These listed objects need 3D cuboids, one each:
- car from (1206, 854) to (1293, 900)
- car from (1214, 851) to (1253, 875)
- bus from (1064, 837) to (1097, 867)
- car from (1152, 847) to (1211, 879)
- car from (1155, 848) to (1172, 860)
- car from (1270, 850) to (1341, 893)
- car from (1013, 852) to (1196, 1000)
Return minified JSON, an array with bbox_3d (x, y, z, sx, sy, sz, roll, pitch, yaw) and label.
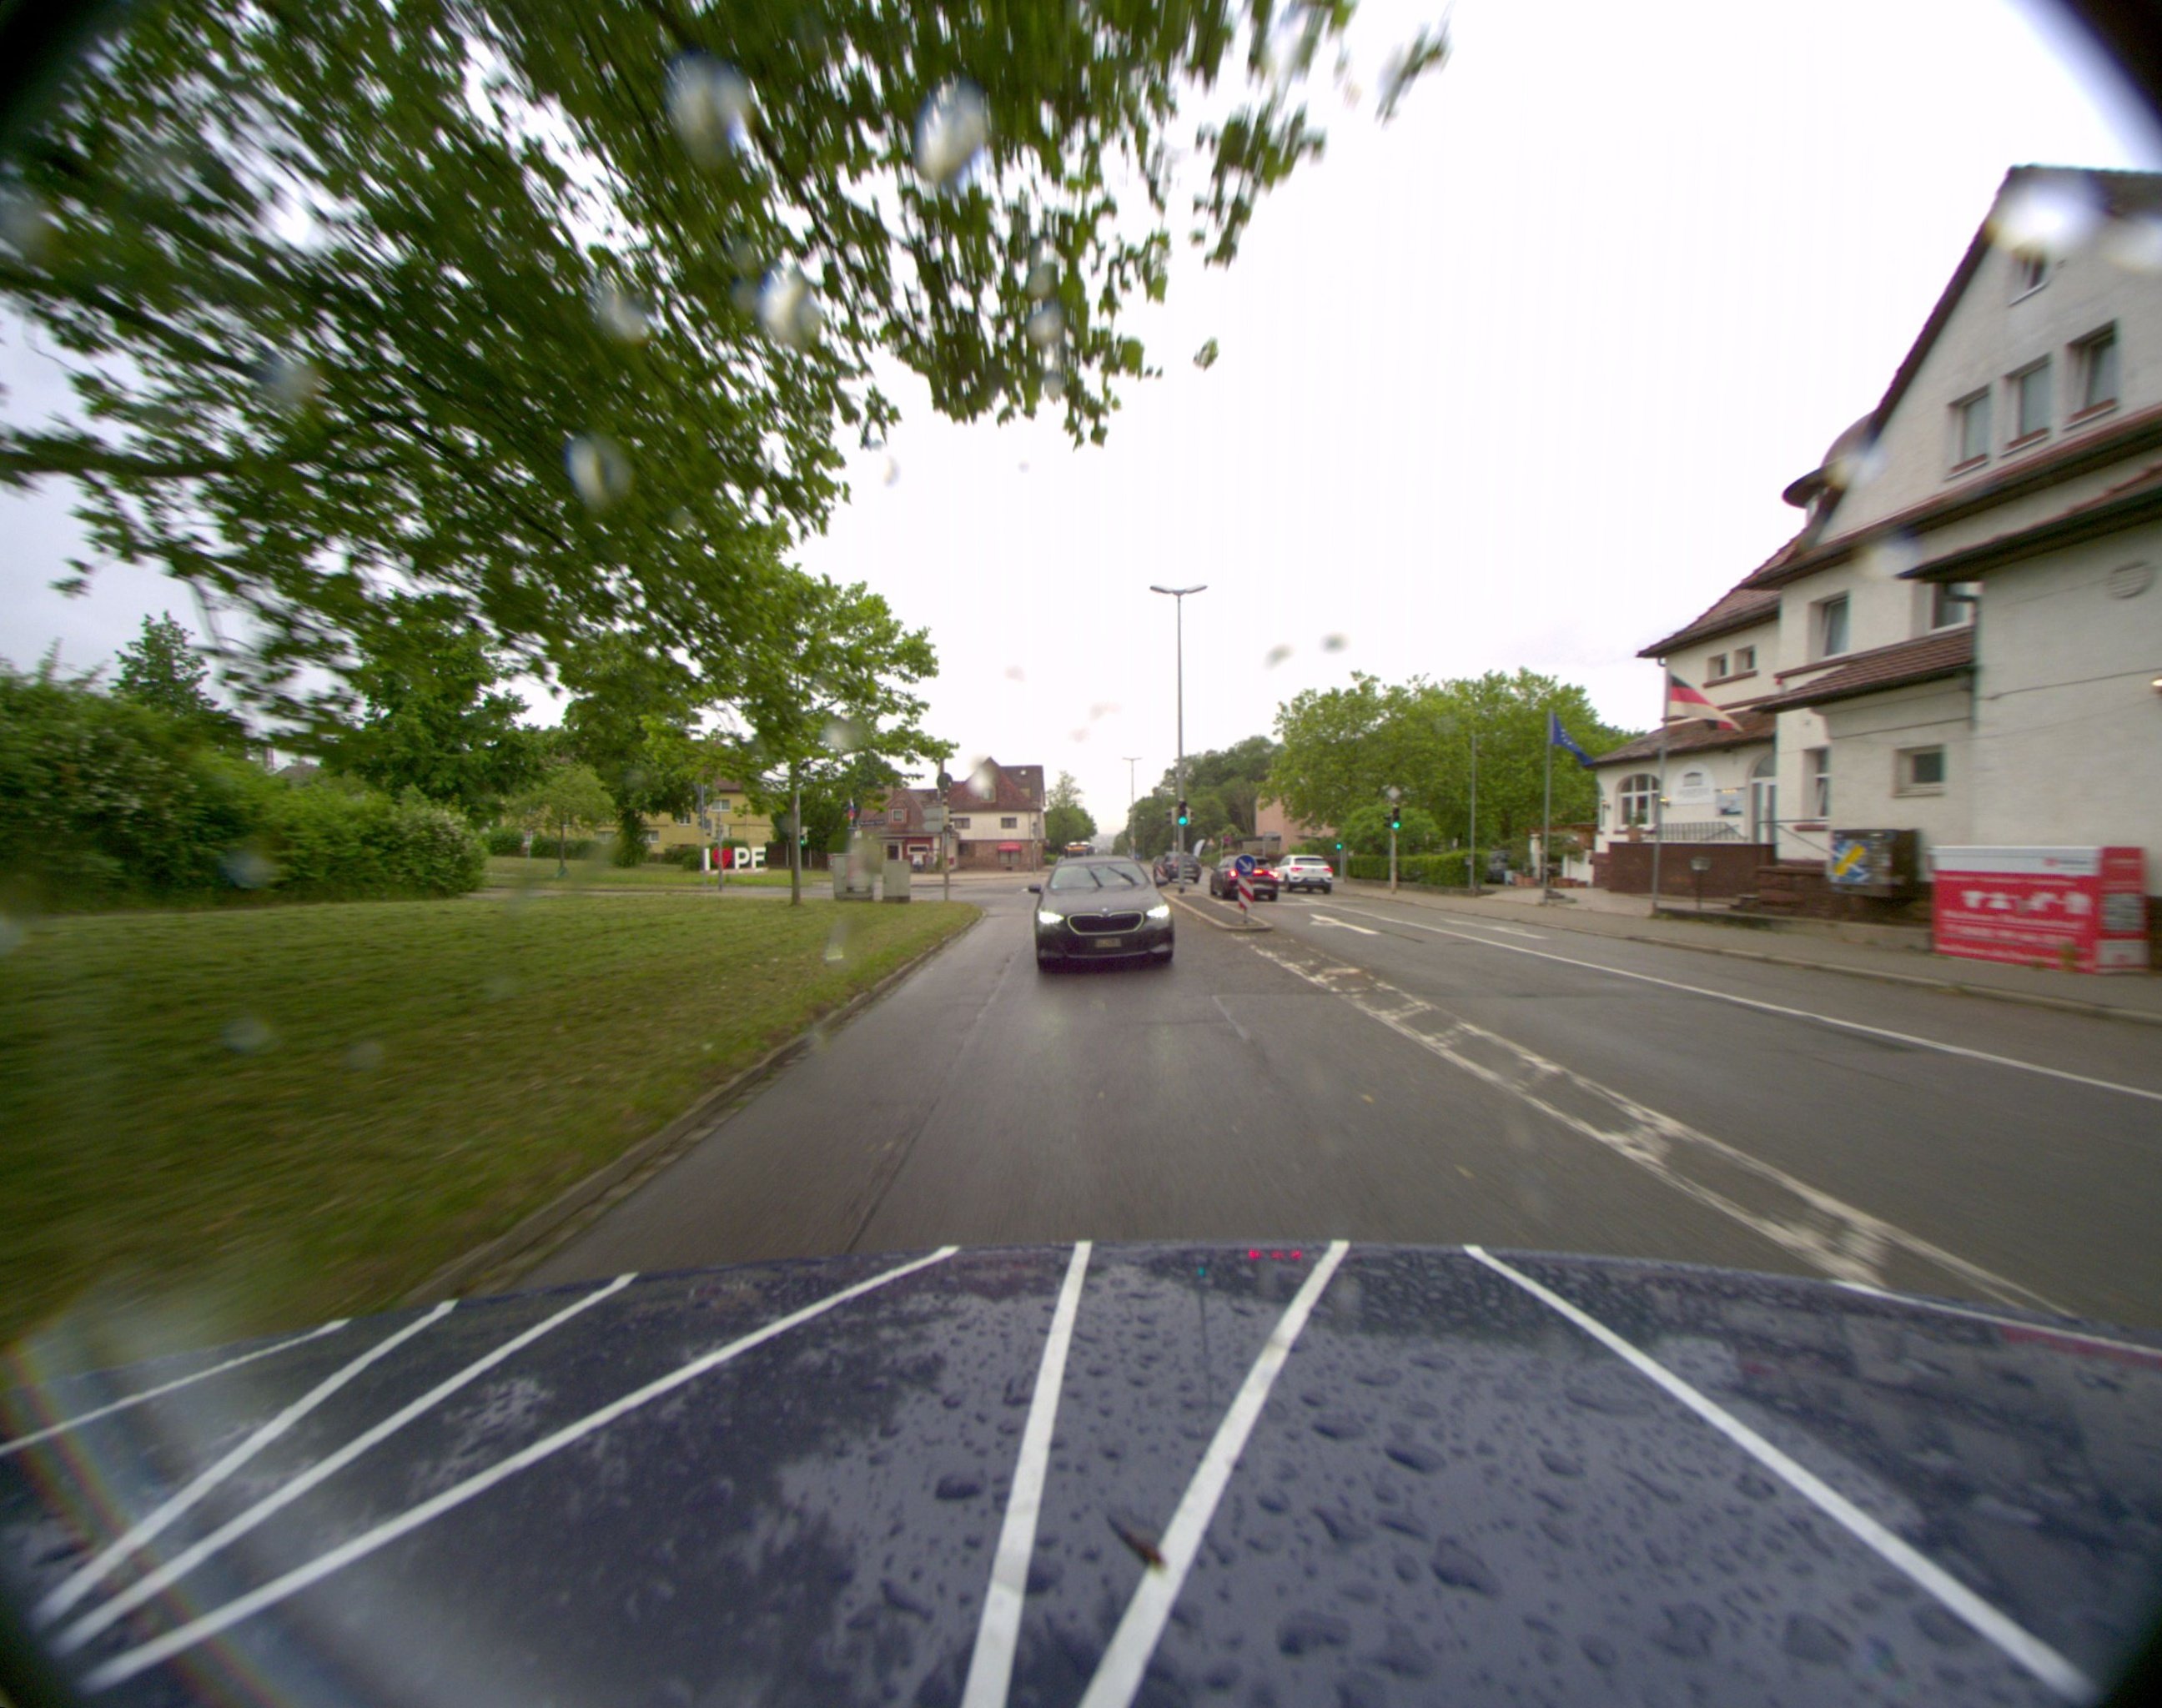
[{"bbox_3d":[5.544,0.715,25.577,1.998,1.420,4.388,0,0,0],"label":"car"},{"bbox_3d":[9.672,0.561,48.346,1.771,1.412,4.106,3,0,3],"label":"car"},{"bbox_3d":[0.090,-0.290,78.534,2.897,2.770,10.386,-3,1,2],"label":"bus"},{"bbox_3d":[5.421,0.482,41.393,2.000,1.652,4.299,0,0,-10],"label":"car"},{"bbox_3d":[11.317,-0.038,104.380,1.998,1.652,4.304,0,0,2],"label":"car"},{"bbox_3d":[9.366,0.714,32.025,1.998,1.674,4.001,-1,-1,3],"label":"car"},{"bbox_3d":[0.218,0.817,10.693,1.999,1.586,4.147,-3,0,-2],"label":"car"}]
